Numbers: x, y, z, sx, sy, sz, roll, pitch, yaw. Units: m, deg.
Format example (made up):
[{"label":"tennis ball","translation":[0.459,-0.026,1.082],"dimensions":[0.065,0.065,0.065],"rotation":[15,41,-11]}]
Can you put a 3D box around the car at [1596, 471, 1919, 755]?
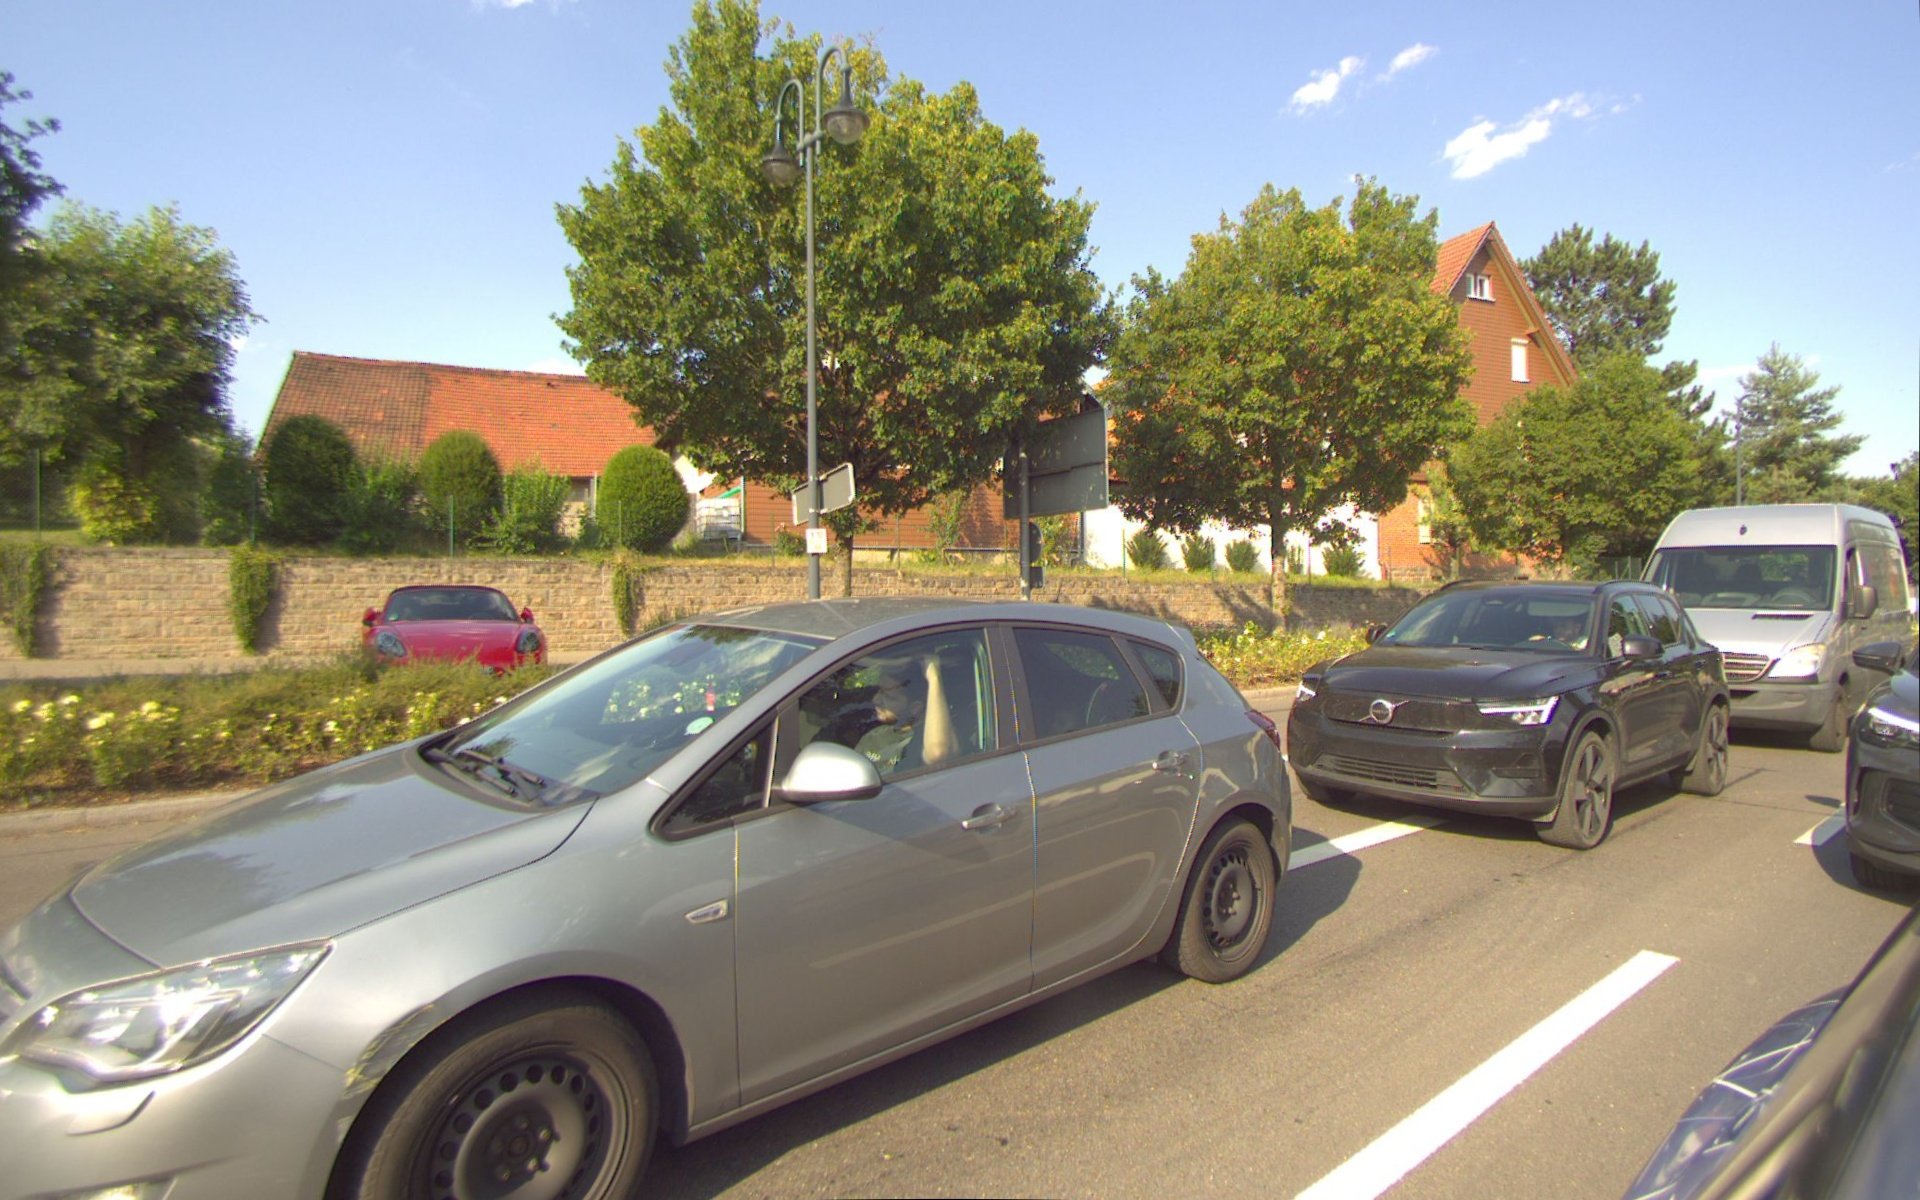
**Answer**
[{"label":"car","translation":[9.720,0.085,11.956],"dimensions":[5.938,2.601,1.992],"rotation":[0,1,-40]}]

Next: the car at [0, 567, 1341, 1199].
[{"label":"car","translation":[-0.566,0.665,3.508],"dimensions":[4.244,1.471,1.765],"rotation":[0,2,-42]}]

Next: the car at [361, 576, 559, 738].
[{"label":"car","translation":[-5.904,0.524,11.699],"dimensions":[1.743,1.510,4.156],"rotation":[0,0,-31]}]

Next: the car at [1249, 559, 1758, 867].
[{"label":"car","translation":[4.153,0.566,7.438],"dimensions":[4.242,1.629,1.844],"rotation":[0,2,-40]}]

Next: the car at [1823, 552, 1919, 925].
[{"label":"car","translation":[6.207,0.617,5.323],"dimensions":[4.242,1.629,1.844],"rotation":[0,2,-40]}]
